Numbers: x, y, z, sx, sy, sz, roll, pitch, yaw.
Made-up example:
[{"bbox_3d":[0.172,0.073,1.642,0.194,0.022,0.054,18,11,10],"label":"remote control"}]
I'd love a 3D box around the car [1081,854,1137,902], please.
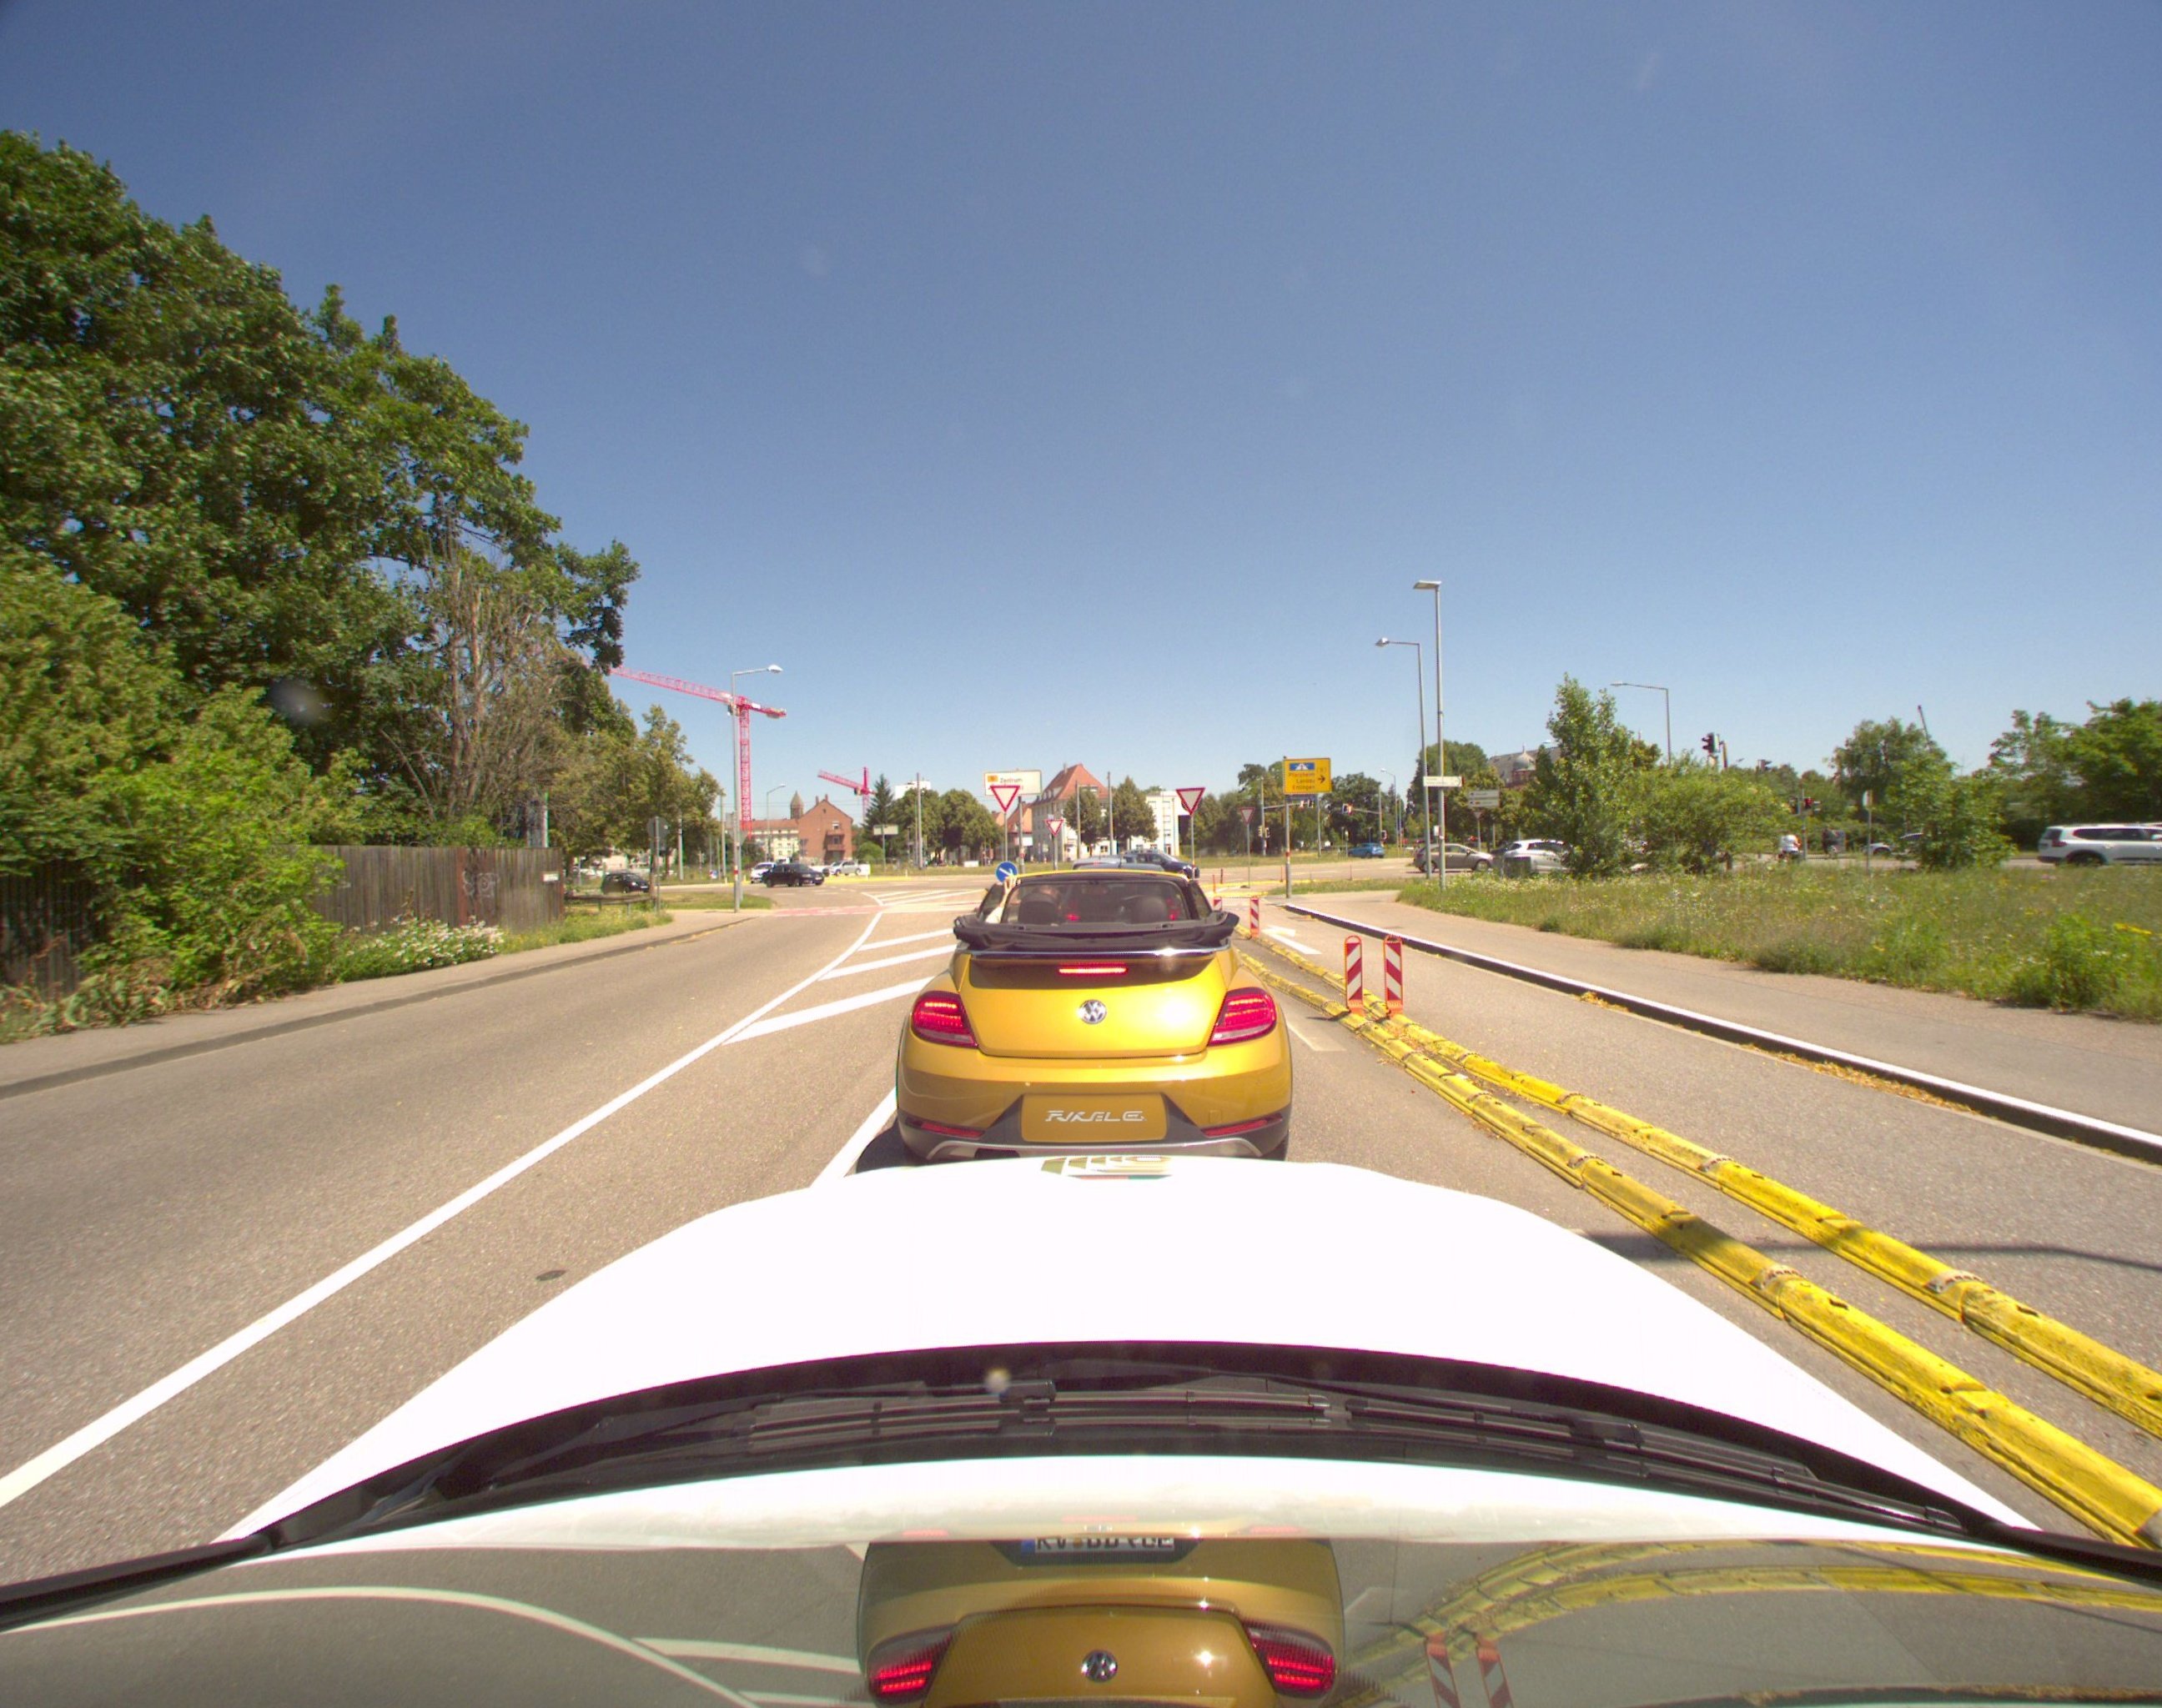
[{"bbox_3d":[0.944,0.761,27.585,1.730,1.477,4.002,-1,0,2],"label":"car"}]

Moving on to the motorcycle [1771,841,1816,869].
[{"bbox_3d":[25.808,0.037,29.487,1.712,0.970,0.625,-1,0,-28],"label":"motorcycle"}]

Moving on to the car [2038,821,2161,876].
[{"bbox_3d":[35.901,-0.184,27.615,4.209,1.816,2.012,-1,0,42],"label":"car"}]

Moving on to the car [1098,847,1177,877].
[{"bbox_3d":[2.963,0.414,42.428,3.965,1.496,1.805,-1,0,8],"label":"car"}]

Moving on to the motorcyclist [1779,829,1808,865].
[{"bbox_3d":[25.828,-0.251,29.533,0.616,1.289,0.576,-1,-1,-27],"label":"motorcyclist"}]

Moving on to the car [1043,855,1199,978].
[{"bbox_3d":[0.544,0.761,11.768,1.841,1.442,4.002,-1,0,2],"label":"car"}]

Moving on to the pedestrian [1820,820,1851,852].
[{"bbox_3d":[37.745,-0.895,40.743,0.789,1.563,0.823,-1,0,3],"label":"pedestrian"}]

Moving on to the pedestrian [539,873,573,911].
[{"bbox_3d":[-21.807,1.569,33.845,0.866,1.563,0.815,-1,-1,24],"label":"pedestrian"}]

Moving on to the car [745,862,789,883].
[{"bbox_3d":[-24.536,1.425,63.803,1.749,1.549,4.002,-1,0,2],"label":"car"}]

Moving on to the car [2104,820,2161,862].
[{"bbox_3d":[41.546,-0.511,30.449,1.850,1.585,3.951,-1,0,-43],"label":"car"}]

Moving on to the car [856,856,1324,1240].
[{"bbox_3d":[0.083,0.742,4.969,1.746,1.422,3.778,-1,0,1],"label":"car"}]

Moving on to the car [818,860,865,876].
[{"bbox_3d":[-23.200,1.322,79.011,1.690,1.500,4.247,-1,0,34],"label":"car"}]

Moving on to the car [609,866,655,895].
[{"bbox_3d":[-30.611,1.769,55.515,2.010,1.816,3.953,-1,0,-40],"label":"car"}]

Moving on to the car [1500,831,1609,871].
[{"bbox_3d":[20.773,-0.115,35.895,3.963,1.620,1.690,-1,0,23],"label":"car"}]

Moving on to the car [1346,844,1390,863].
[{"bbox_3d":[29.358,-0.044,83.361,2.005,1.838,3.963,-1,0,-28],"label":"car"}]

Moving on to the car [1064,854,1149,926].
[{"bbox_3d":[0.586,0.753,18.786,1.730,1.442,4.002,-1,0,2],"label":"car"}]

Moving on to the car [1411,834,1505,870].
[{"bbox_3d":[18.947,-0.091,41.056,3.958,1.496,1.654,-5,-1,14],"label":"car"}]

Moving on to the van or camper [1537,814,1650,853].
[{"bbox_3d":[38.463,-1.489,61.460,2.510,2.693,7.474,-1,0,-15],"label":"van or camper"}]

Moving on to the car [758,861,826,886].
[{"bbox_3d":[-18.217,1.224,51.301,4.474,1.447,1.834,-1,0,37],"label":"car"}]

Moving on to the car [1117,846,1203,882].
[{"bbox_3d":[3.767,0.471,39.132,3.980,1.620,1.739,-1,0,4],"label":"car"}]

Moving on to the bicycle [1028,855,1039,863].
[{"bbox_3d":[-6.880,0.754,116.965,1.469,1.071,0.496,-1,0,-17],"label":"bicycle"}]

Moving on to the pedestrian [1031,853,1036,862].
[{"bbox_3d":[-6.848,0.506,116.978,0.677,1.230,0.496,-1,-1,-17],"label":"pedestrian"}]

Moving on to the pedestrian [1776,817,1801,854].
[{"bbox_3d":[36.672,-0.935,42.224,0.647,1.870,0.737,-1,-1,3],"label":"pedestrian"}]

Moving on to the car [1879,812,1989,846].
[{"bbox_3d":[47.510,-1.334,45.421,1.744,1.728,3.959,-1,0,-33],"label":"car"}]
